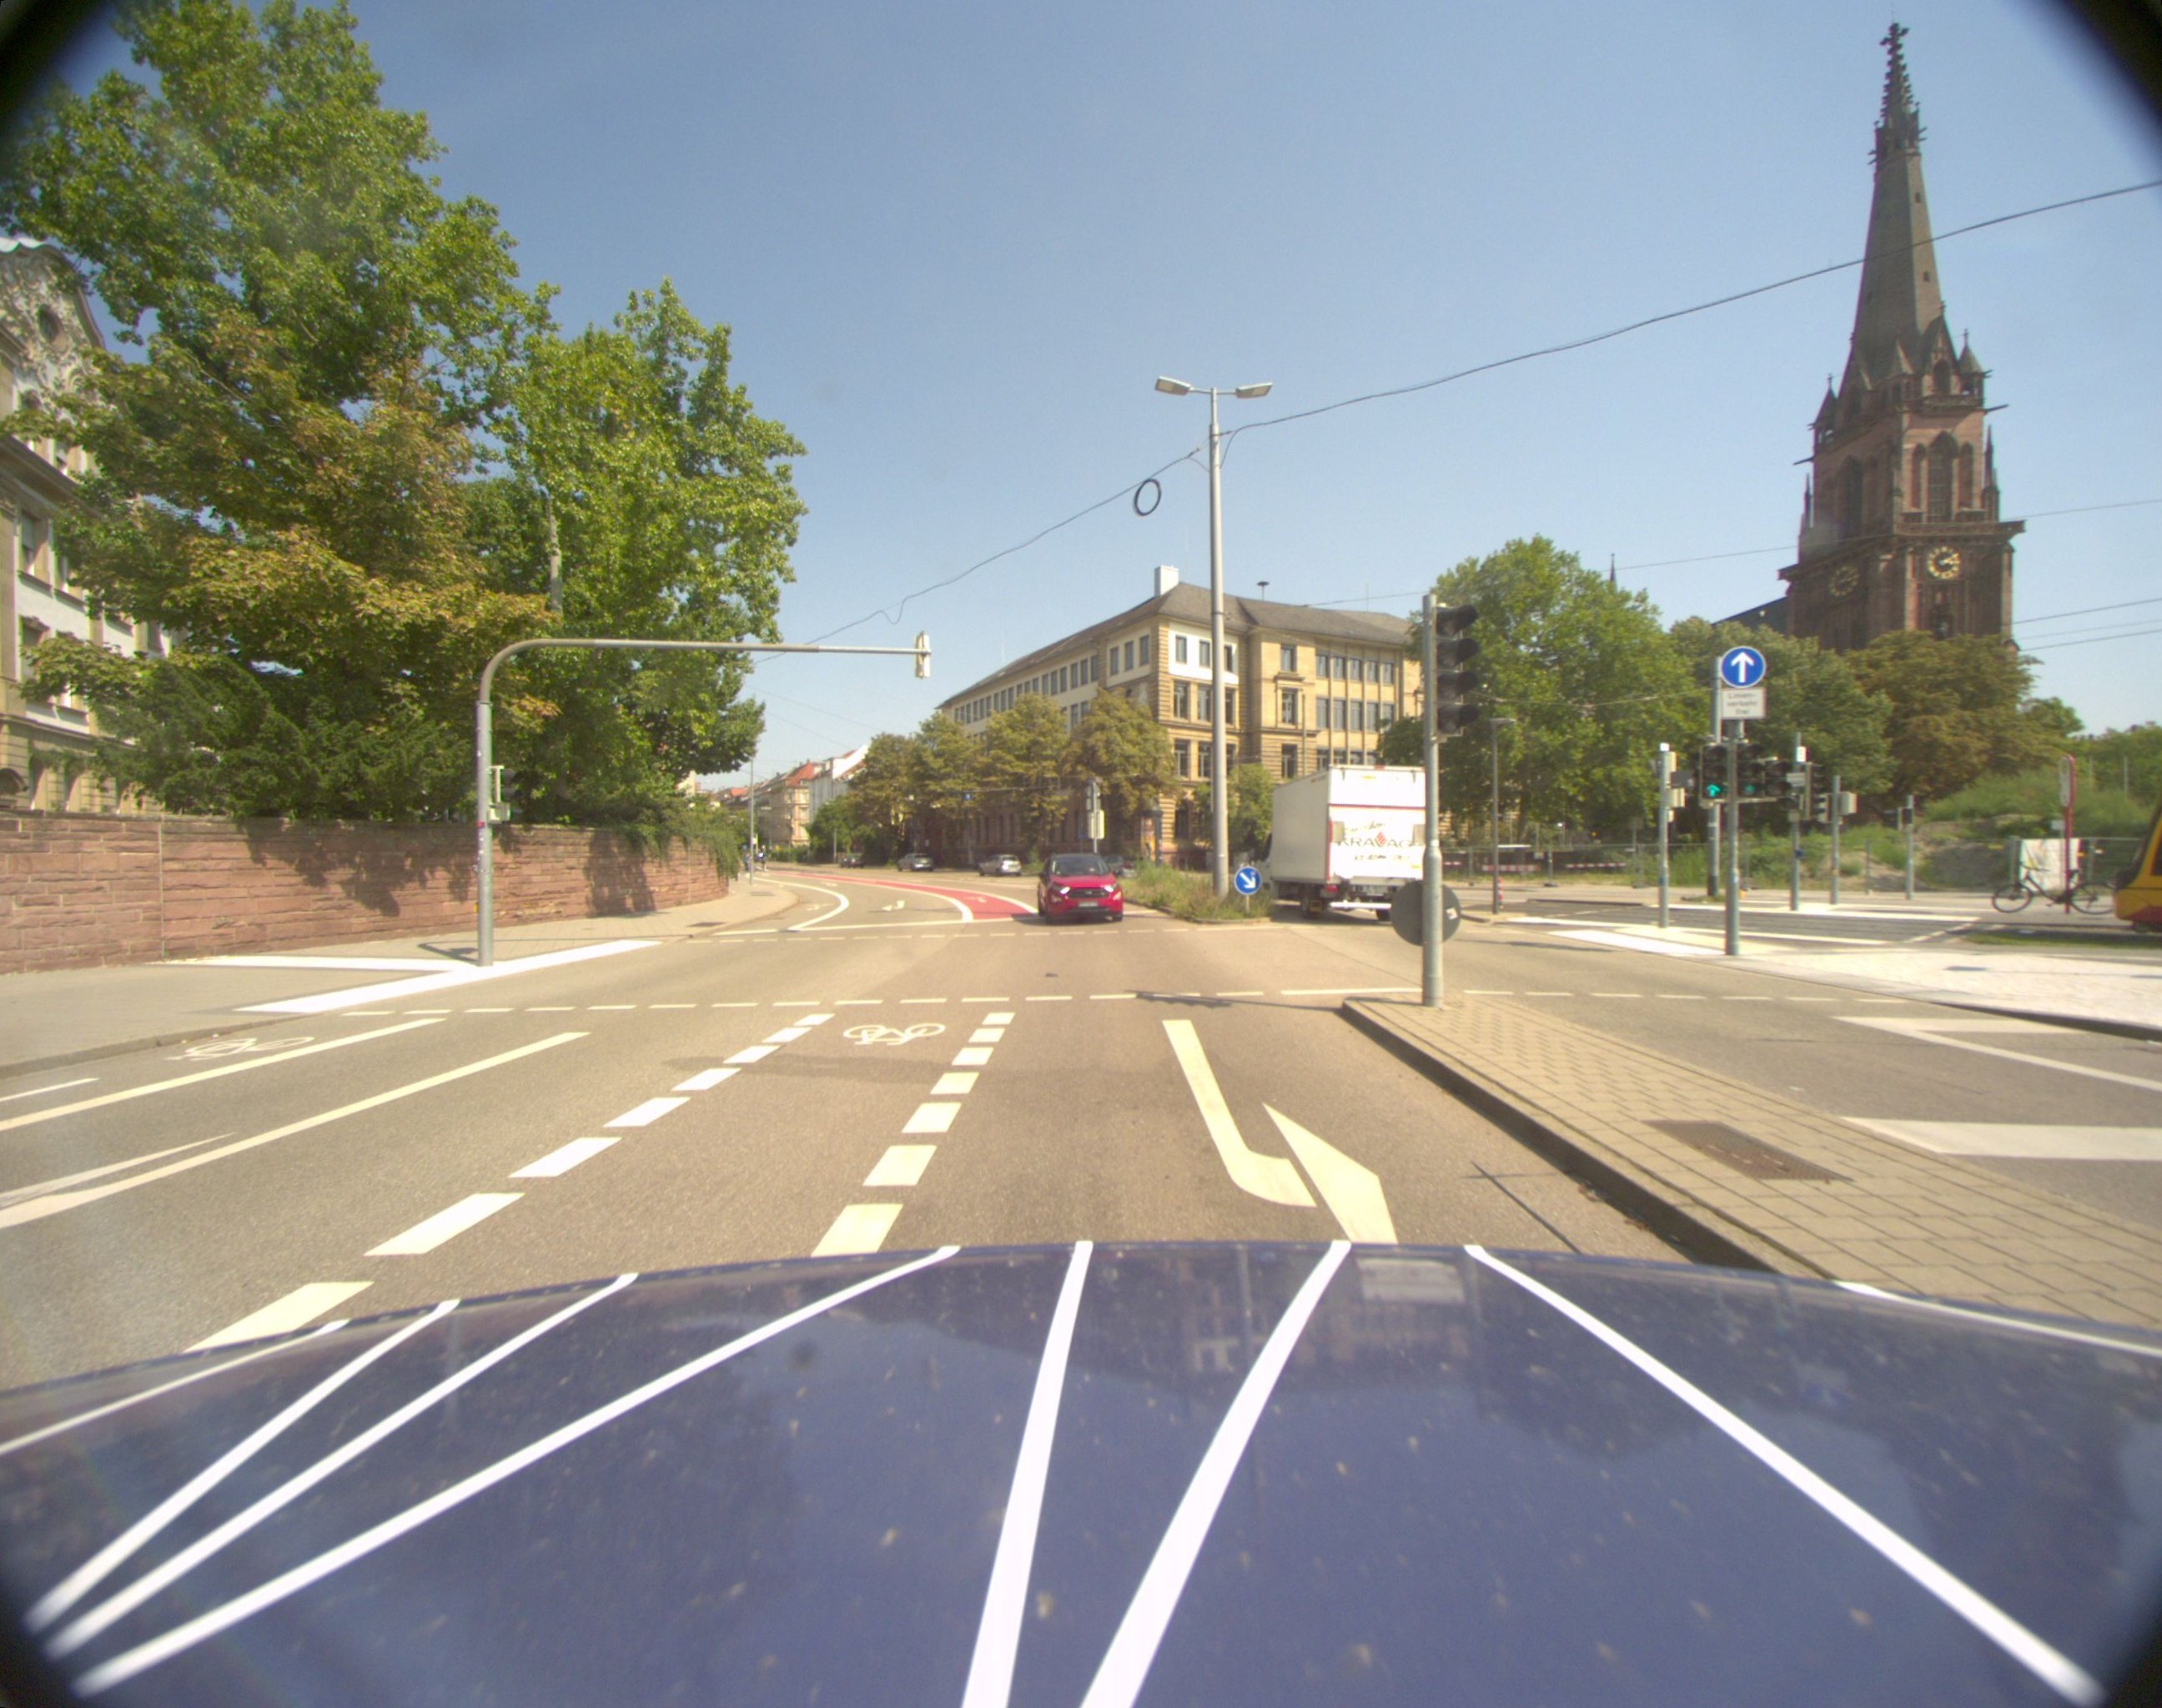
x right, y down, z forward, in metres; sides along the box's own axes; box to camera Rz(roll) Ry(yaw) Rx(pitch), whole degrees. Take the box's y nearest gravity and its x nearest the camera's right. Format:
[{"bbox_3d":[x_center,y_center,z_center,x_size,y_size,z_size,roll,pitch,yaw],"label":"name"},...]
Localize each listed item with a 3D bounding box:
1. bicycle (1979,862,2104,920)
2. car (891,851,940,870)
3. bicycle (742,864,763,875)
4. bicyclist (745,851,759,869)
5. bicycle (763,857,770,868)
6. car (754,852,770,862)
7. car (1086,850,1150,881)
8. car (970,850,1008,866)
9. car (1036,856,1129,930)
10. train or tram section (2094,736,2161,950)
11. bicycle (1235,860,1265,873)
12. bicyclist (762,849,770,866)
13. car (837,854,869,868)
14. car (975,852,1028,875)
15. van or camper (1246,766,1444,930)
[{"bbox_3d":[21.941,0.815,17.395,0.610,1.215,1.701,-1,1,-29],"label":"bicycle"},{"bbox_3d":[-14.337,0.555,65.613,4.659,1.601,1.781,0,1,44],"label":"car"},{"bbox_3d":[-29.148,1.362,67.390,0.614,0.994,1.715,0,-1,27],"label":"bicycle"},{"bbox_3d":[-29.139,0.517,67.368,0.626,1.530,0.906,1,-1,28],"label":"bicyclist"},{"bbox_3d":[-31.190,0.825,75.347,0.616,0.994,1.708,-1,1,-20],"label":"bicycle"},{"bbox_3d":[-51.934,0.476,123.763,1.699,1.645,3.571,-2,1,-33],"label":"car"},{"bbox_3d":[1.863,0.566,39.592,1.704,1.521,4.175,0,0,-23],"label":"car"},{"bbox_3d":[-8.710,0.360,72.198,1.817,1.487,4.170,-1,0,20],"label":"car"},{"bbox_3d":[-0.075,0.846,18.420,1.817,1.542,4.018,-1,0,-6],"label":"car"},{"bbox_3d":[23.564,-0.178,6.507,2.870,3.528,17.695,-2,1,-34],"label":"train or tram section"},{"bbox_3d":[11.677,0.844,52.461,2.184,0.889,0.748,0,1,-37],"label":"bicycle"},{"bbox_3d":[-31.187,0.345,75.292,0.629,1.589,0.991,0,1,-19],"label":"bicyclist"},{"bbox_3d":[-24.318,0.741,81.060,1.696,1.370,4.605,-1,1,-38],"label":"car"},{"bbox_3d":[-5.479,0.637,51.932,1.659,1.521,4.313,-1,1,-37],"label":"car"},{"bbox_3d":[6.080,-0.126,18.839,2.406,3.287,7.189,0,0,0],"label":"van or camper"}]
